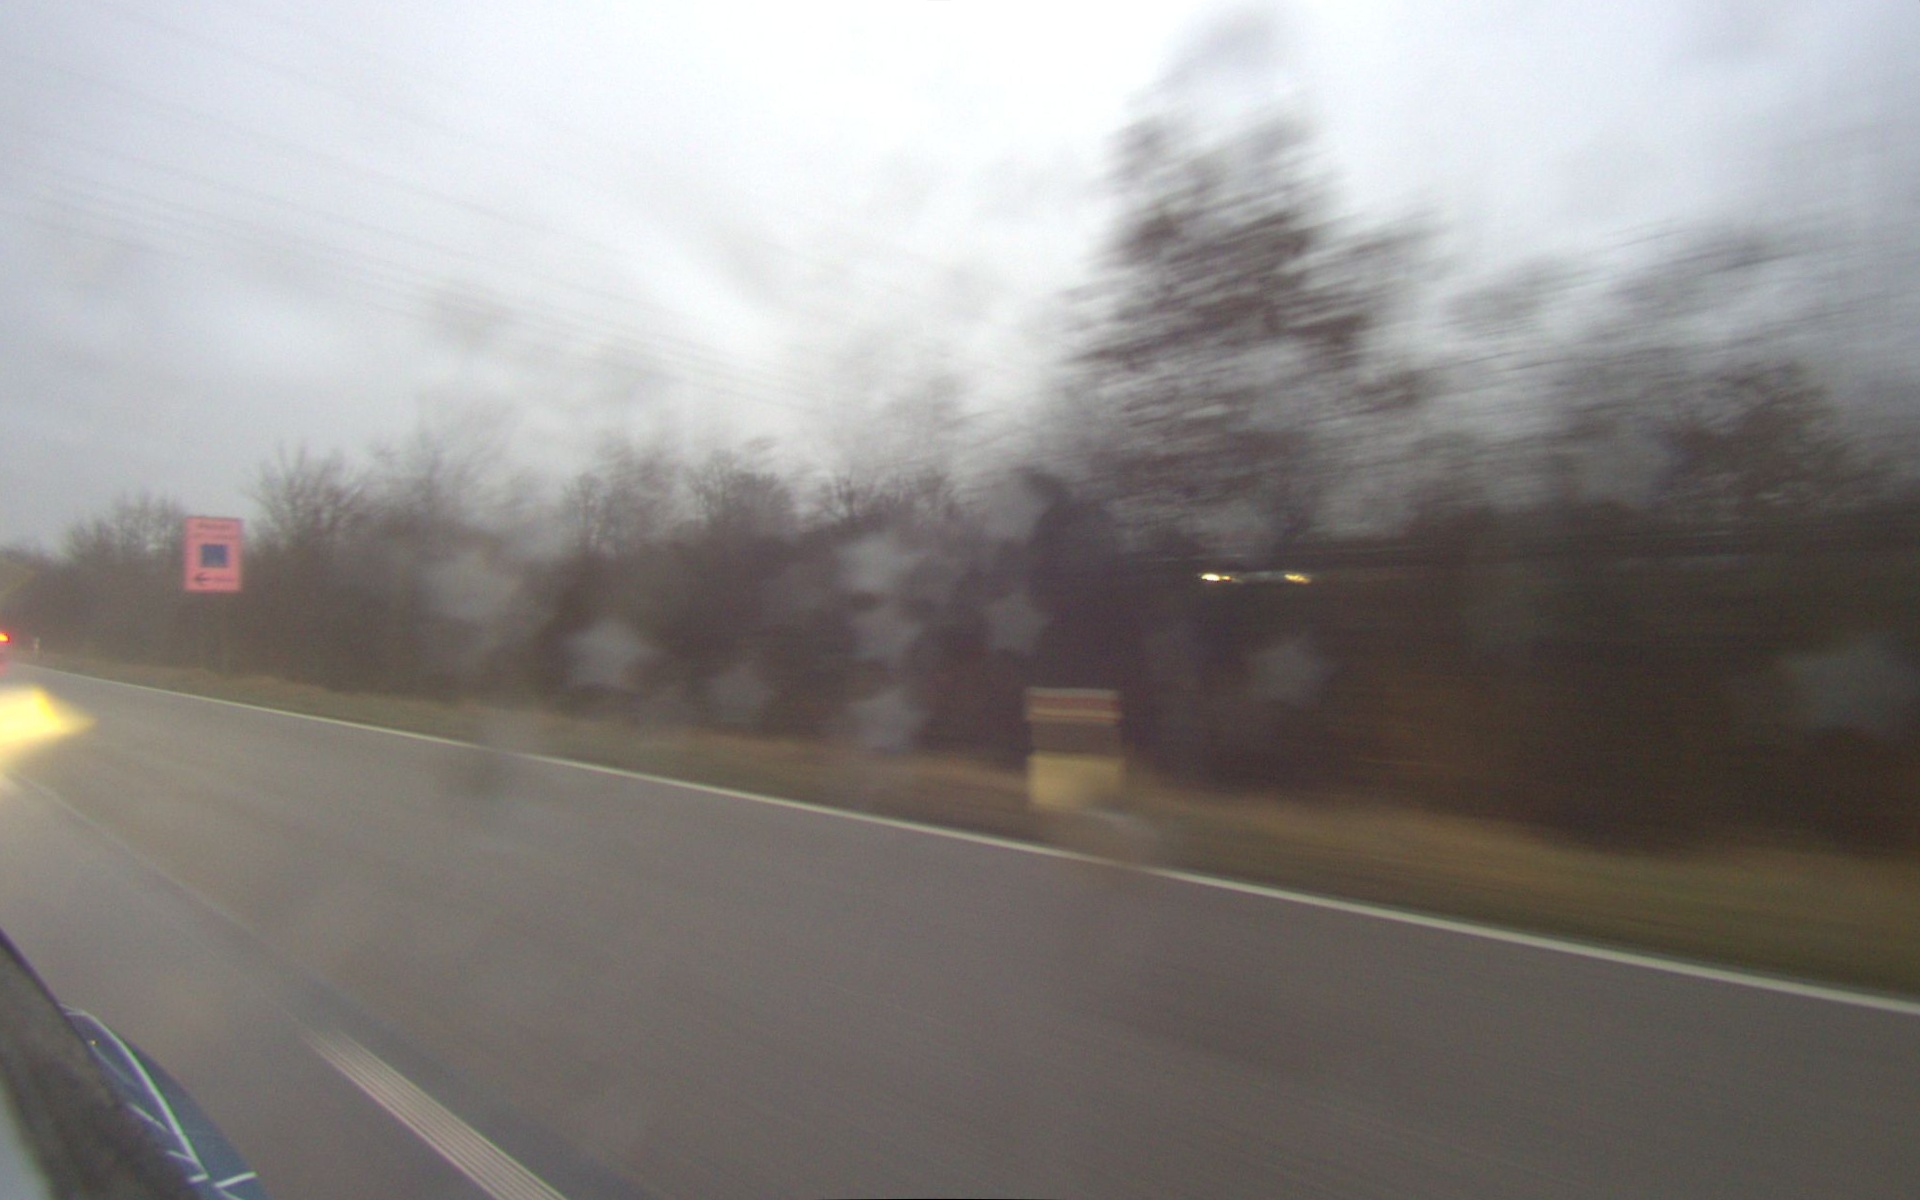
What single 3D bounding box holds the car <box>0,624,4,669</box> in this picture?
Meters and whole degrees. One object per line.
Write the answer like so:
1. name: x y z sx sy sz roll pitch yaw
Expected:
1. car: -37.350 1.752 38.070 3.974 1.643 1.655 -2 -1 41
